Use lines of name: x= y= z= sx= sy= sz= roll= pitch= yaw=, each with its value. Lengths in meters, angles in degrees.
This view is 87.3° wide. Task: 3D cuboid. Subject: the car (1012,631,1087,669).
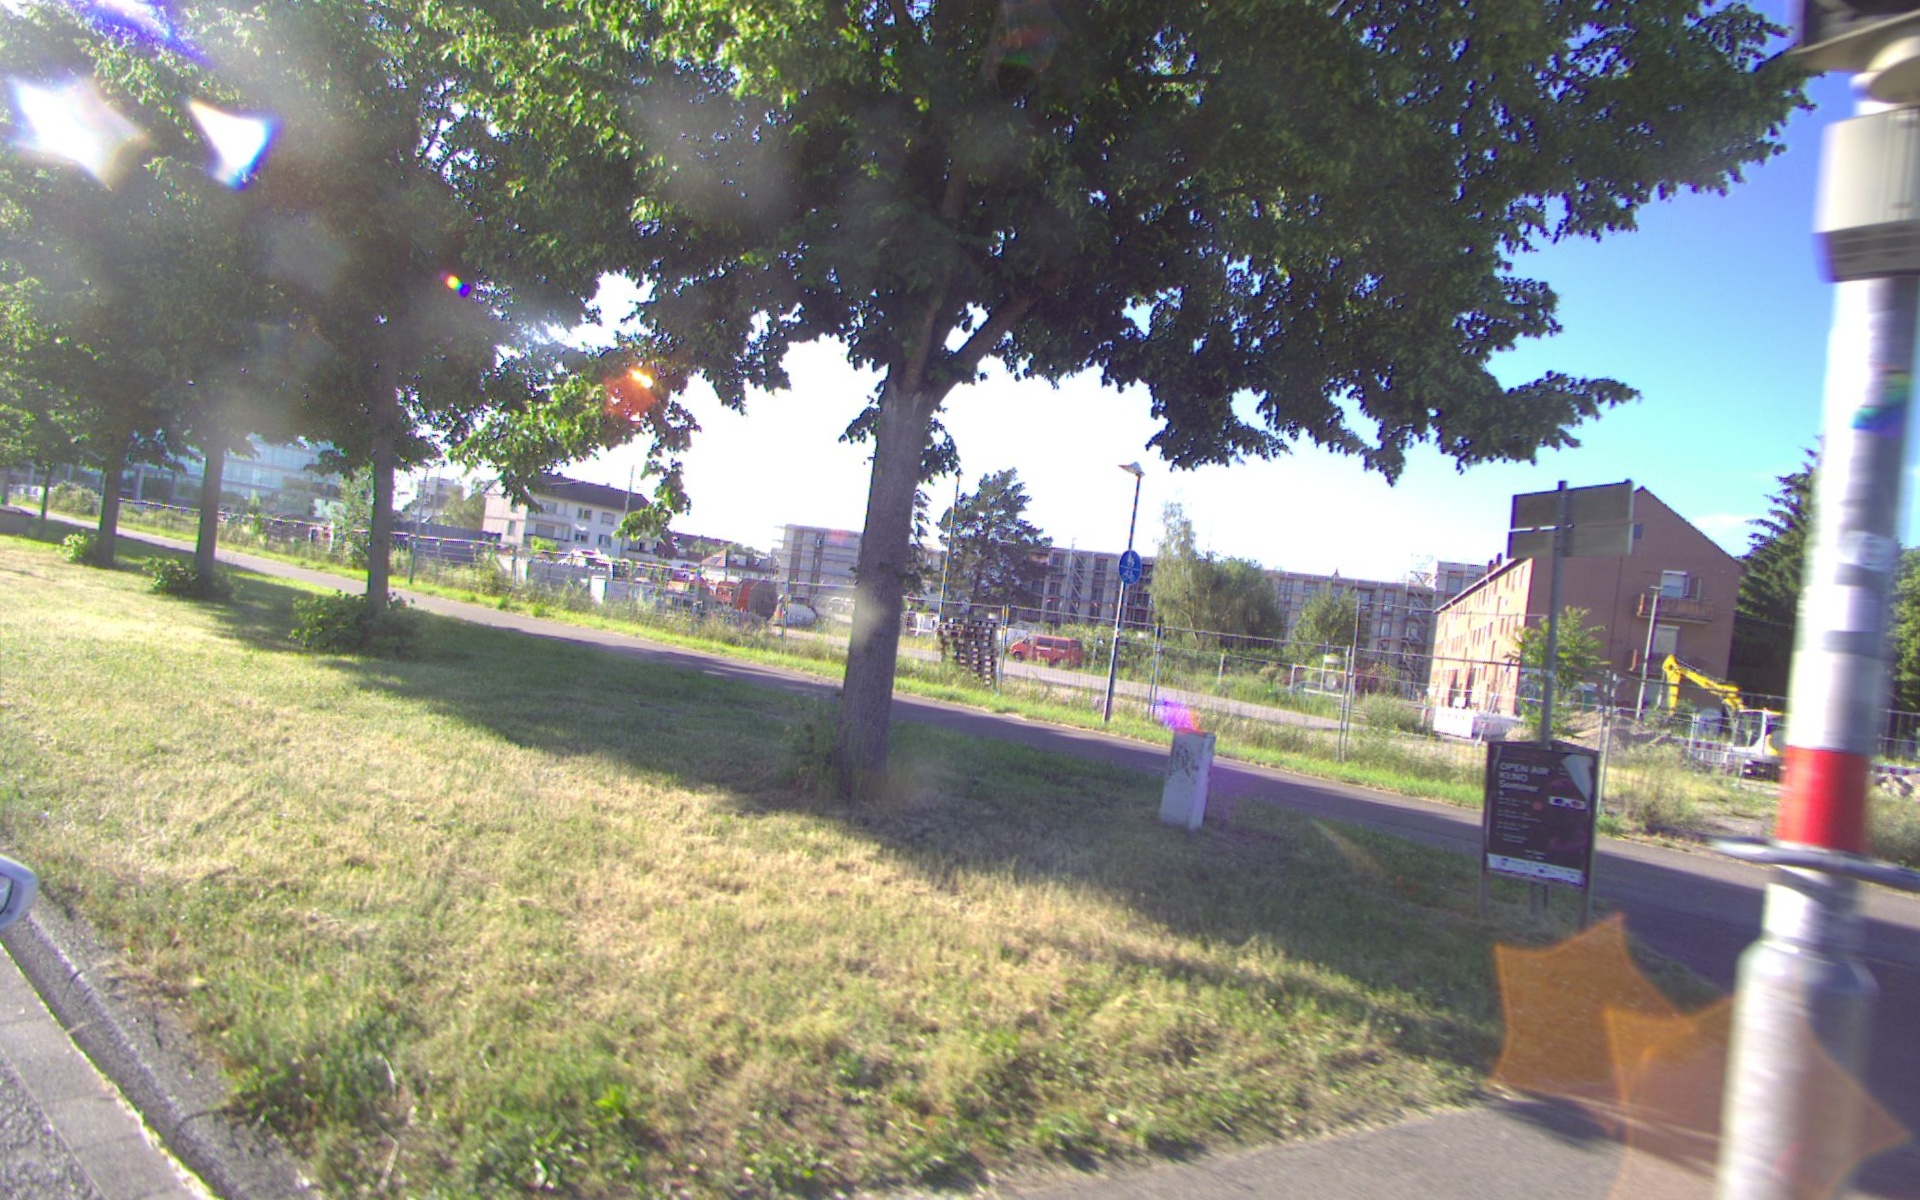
car: x=5.535 y=3.056 z=62.092 sx=3.944 sy=1.748 sz=2.170 roll=6 pitch=-1 yaw=41

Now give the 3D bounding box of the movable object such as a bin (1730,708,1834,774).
movable object such as a bin: x=30.513 y=5.206 z=37.401 sx=1.963 sy=2.037 sz=2.070 roll=7 pitch=-2 yaw=-1
